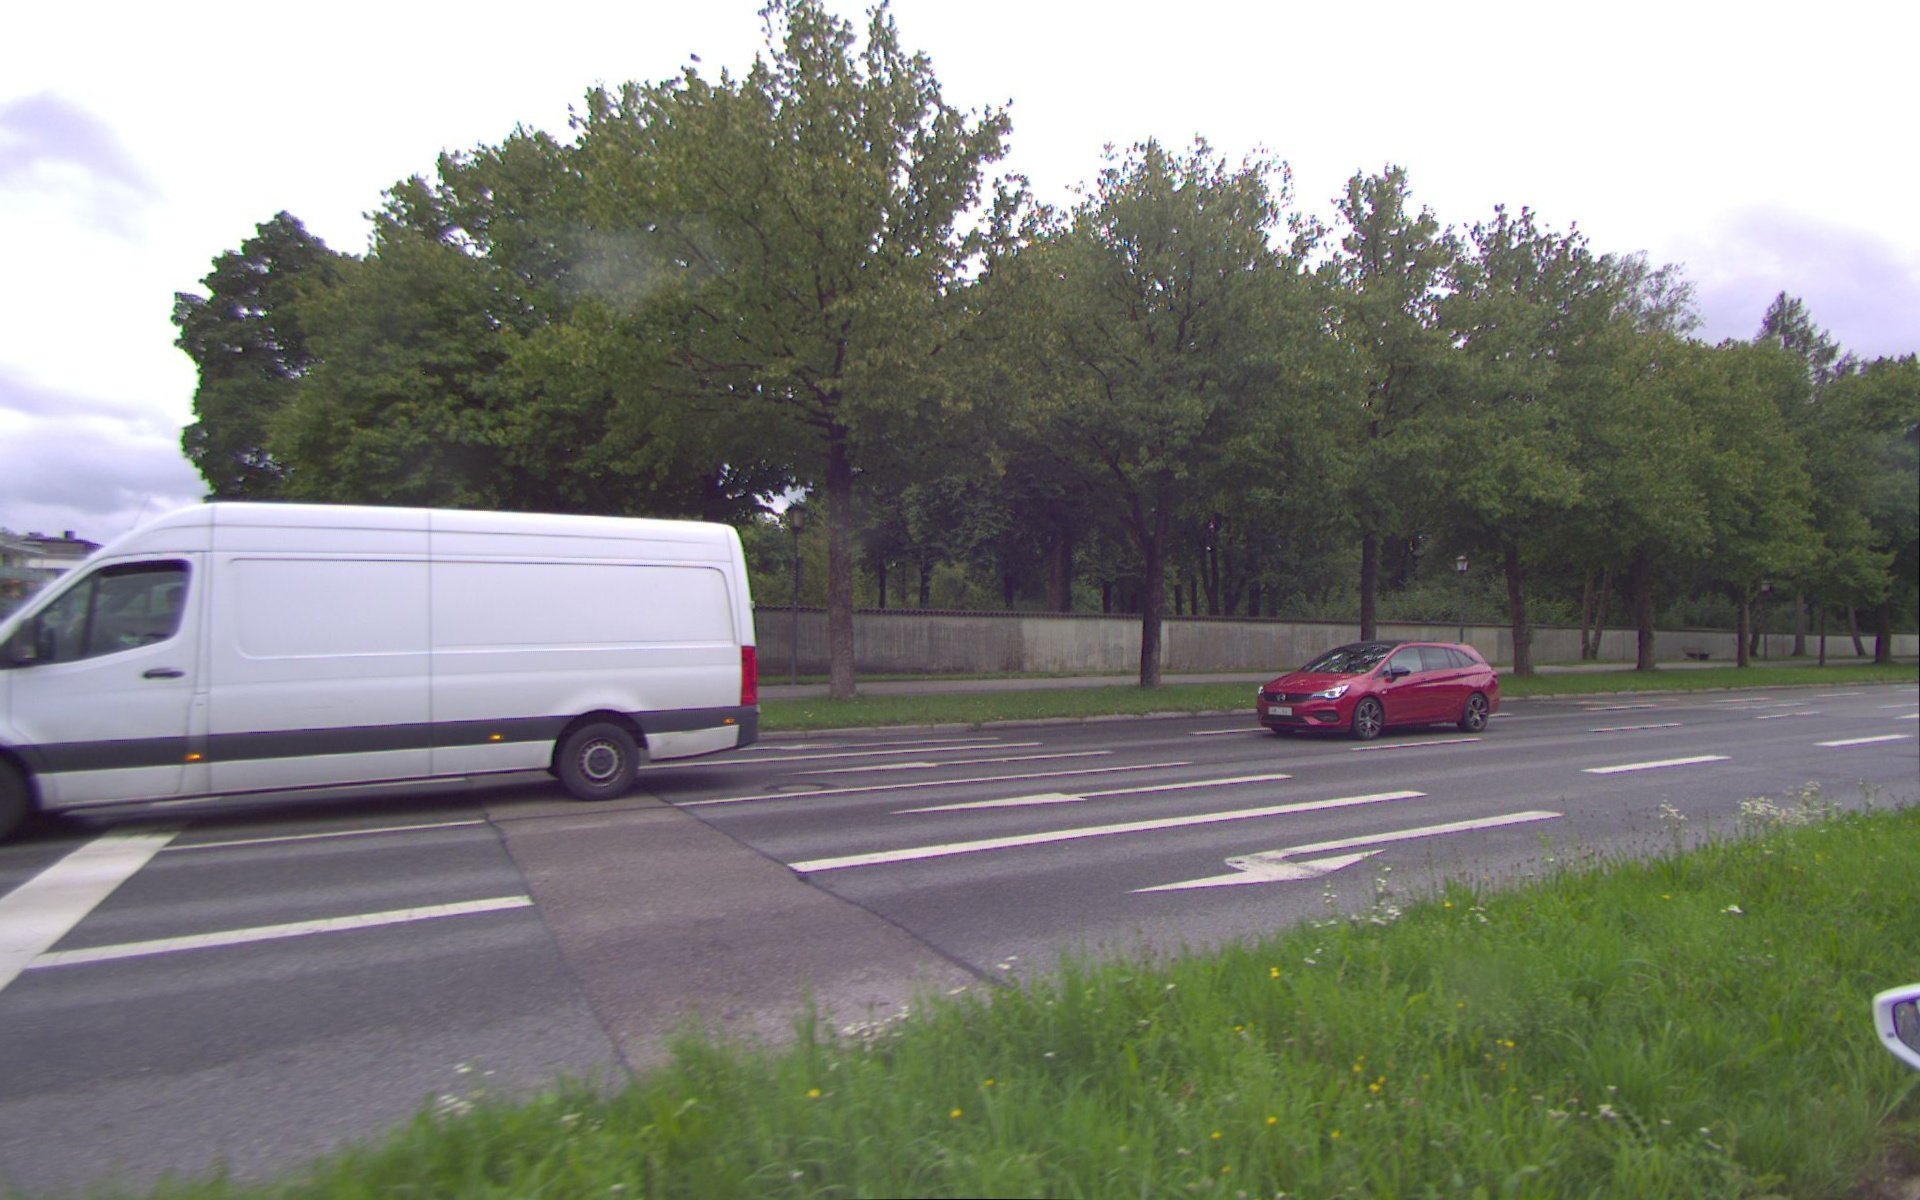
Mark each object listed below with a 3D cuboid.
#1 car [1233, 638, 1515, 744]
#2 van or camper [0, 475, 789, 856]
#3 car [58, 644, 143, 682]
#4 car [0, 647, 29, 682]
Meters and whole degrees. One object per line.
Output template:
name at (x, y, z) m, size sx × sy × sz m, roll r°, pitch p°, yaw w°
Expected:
car at (6.680, 1.378, 16.088) m, size 4.603 × 1.470 × 1.735 m, roll 1°, pitch -4°, yaw -31°
van or camper at (-5.205, 0.550, 9.231) m, size 6.868 × 2.681 × 2.169 m, roll 1°, pitch -4°, yaw -30°
car at (-35.514, 2.567, 41.620) m, size 1.822 × 1.435 × 4.183 m, roll 1°, pitch -2°, yaw -29°
car at (-41.809, 2.813, 43.672) m, size 1.919 × 1.481 × 4.311 m, roll 2°, pitch -5°, yaw -43°
